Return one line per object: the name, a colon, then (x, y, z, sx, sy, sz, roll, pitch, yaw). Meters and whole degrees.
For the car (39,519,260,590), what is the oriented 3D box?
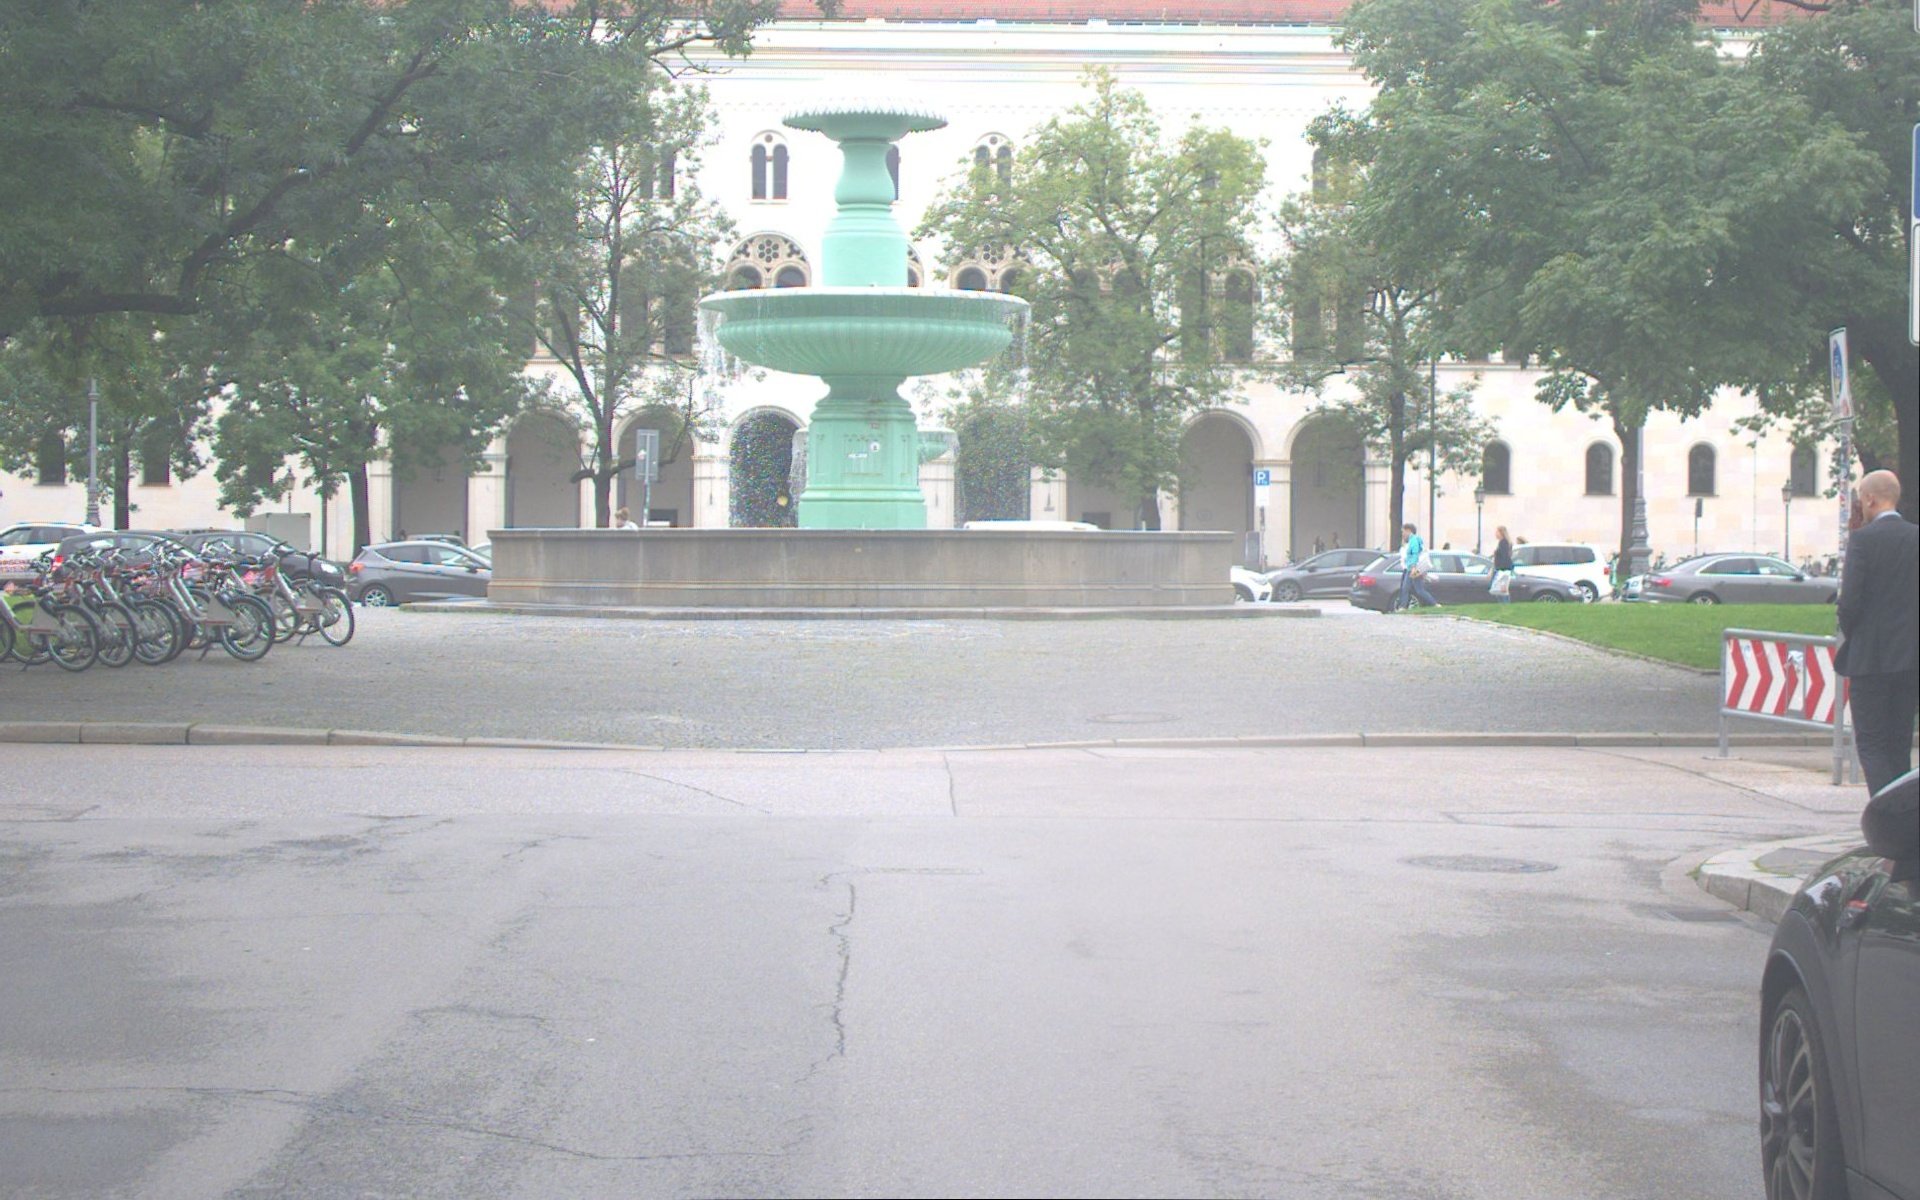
car: (-16.109, -0.917, 68.469, 3.986, 1.371, 2.000, 0, 2, -2)

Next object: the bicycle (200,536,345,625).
bicycle: (-8.214, -0.236, 41.067, 1.536, 1.016, 0.698, 1, 1, 10)

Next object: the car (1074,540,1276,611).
car: (4.282, -0.502, 68.983, 3.987, 1.398, 1.824, 0, 1, 1)

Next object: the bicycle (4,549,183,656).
bicycle: (-8.869, 0.020, 35.210, 1.619, 1.032, 0.698, 1, 1, 10)

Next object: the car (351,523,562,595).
car: (-10.033, -0.826, 68.752, 3.986, 1.371, 2.000, 0, 2, -2)

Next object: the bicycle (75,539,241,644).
bicycle: (-8.776, -0.103, 37.642, 1.619, 1.095, 0.698, 1, 1, 10)

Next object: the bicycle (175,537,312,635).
bicycle: (-8.354, -0.171, 40.085, 1.401, 1.095, 0.656, 1, 1, 10)

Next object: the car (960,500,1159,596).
car: (2.231, -1.169, 76.512, 4.326, 2.007, 1.824, 1, 1, 3)

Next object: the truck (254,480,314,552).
truck: (-24.207, -3.016, 123.034, 1.993, 2.480, 4.001, 1, 2, -12)

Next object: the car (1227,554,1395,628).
car: (8.896, -0.238, 87.280, 3.986, 1.744, 1.808, 1, 1, -2)

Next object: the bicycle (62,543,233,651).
bicycle: (-8.666, -0.043, 36.678, 1.619, 1.095, 0.698, 1, 1, 10)

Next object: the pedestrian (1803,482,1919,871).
pedestrian: (4.353, 0.349, 16.203, 0.642, 1.802, 0.489, 1, 1, 5)

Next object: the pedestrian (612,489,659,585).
pedestrian: (-5.584, -1.085, 59.245, 0.750, 1.634, 0.710, 0, 1, -1)

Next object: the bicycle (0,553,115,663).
bicycle: (-9.184, 0.067, 33.645, 1.619, 1.032, 0.698, 1, 1, 10)

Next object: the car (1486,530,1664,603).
car: (15.591, -0.867, 87.291, 4.096, 1.735, 1.747, 1, 1, -4)

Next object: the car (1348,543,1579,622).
car: (10.061, -0.357, 68.906, 4.357, 1.519, 1.804, 0, 1, 1)

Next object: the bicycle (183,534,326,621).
bicycle: (-8.586, -0.277, 41.860, 1.536, 1.016, 0.698, 1, 1, 10)

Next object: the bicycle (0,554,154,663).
bicycle: (-8.998, 0.074, 34.473, 1.619, 1.032, 0.698, 1, 1, 10)

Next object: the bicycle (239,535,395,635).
bicycle: (-7.322, -0.175, 39.175, 1.619, 1.095, 0.616, 1, 1, 10)

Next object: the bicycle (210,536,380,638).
bicycle: (-7.442, -0.152, 38.502, 1.710, 1.095, 0.698, 1, 1, 10)

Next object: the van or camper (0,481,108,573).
van or camper: (-22.218, -1.641, 79.353, 4.579, 2.007, 2.000, -2, 0, -3)

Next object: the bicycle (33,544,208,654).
bicycle: (-8.765, -0.022, 35.936, 1.619, 1.095, 0.698, 1, 1, 10)

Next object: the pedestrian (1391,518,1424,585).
pedestrian: (8.139, -0.884, 62.544, 0.443, 1.210, 0.534, 1, 2, 25)

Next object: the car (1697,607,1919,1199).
car: (2.503, 0.763, 6.081, 1.540, 1.421, 3.772, 1, 1, 0)

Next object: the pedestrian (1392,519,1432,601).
pedestrian: (8.128, -0.726, 61.849, 0.583, 1.460, 0.547, 1, 1, 22)

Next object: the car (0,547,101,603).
car: (-23.669, -0.638, 86.690, 3.671, 1.371, 1.603, 0, 1, -2)

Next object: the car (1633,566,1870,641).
car: (15.890, 0.058, 69.154, 4.357, 1.413, 1.804, 0, 2, 1)
